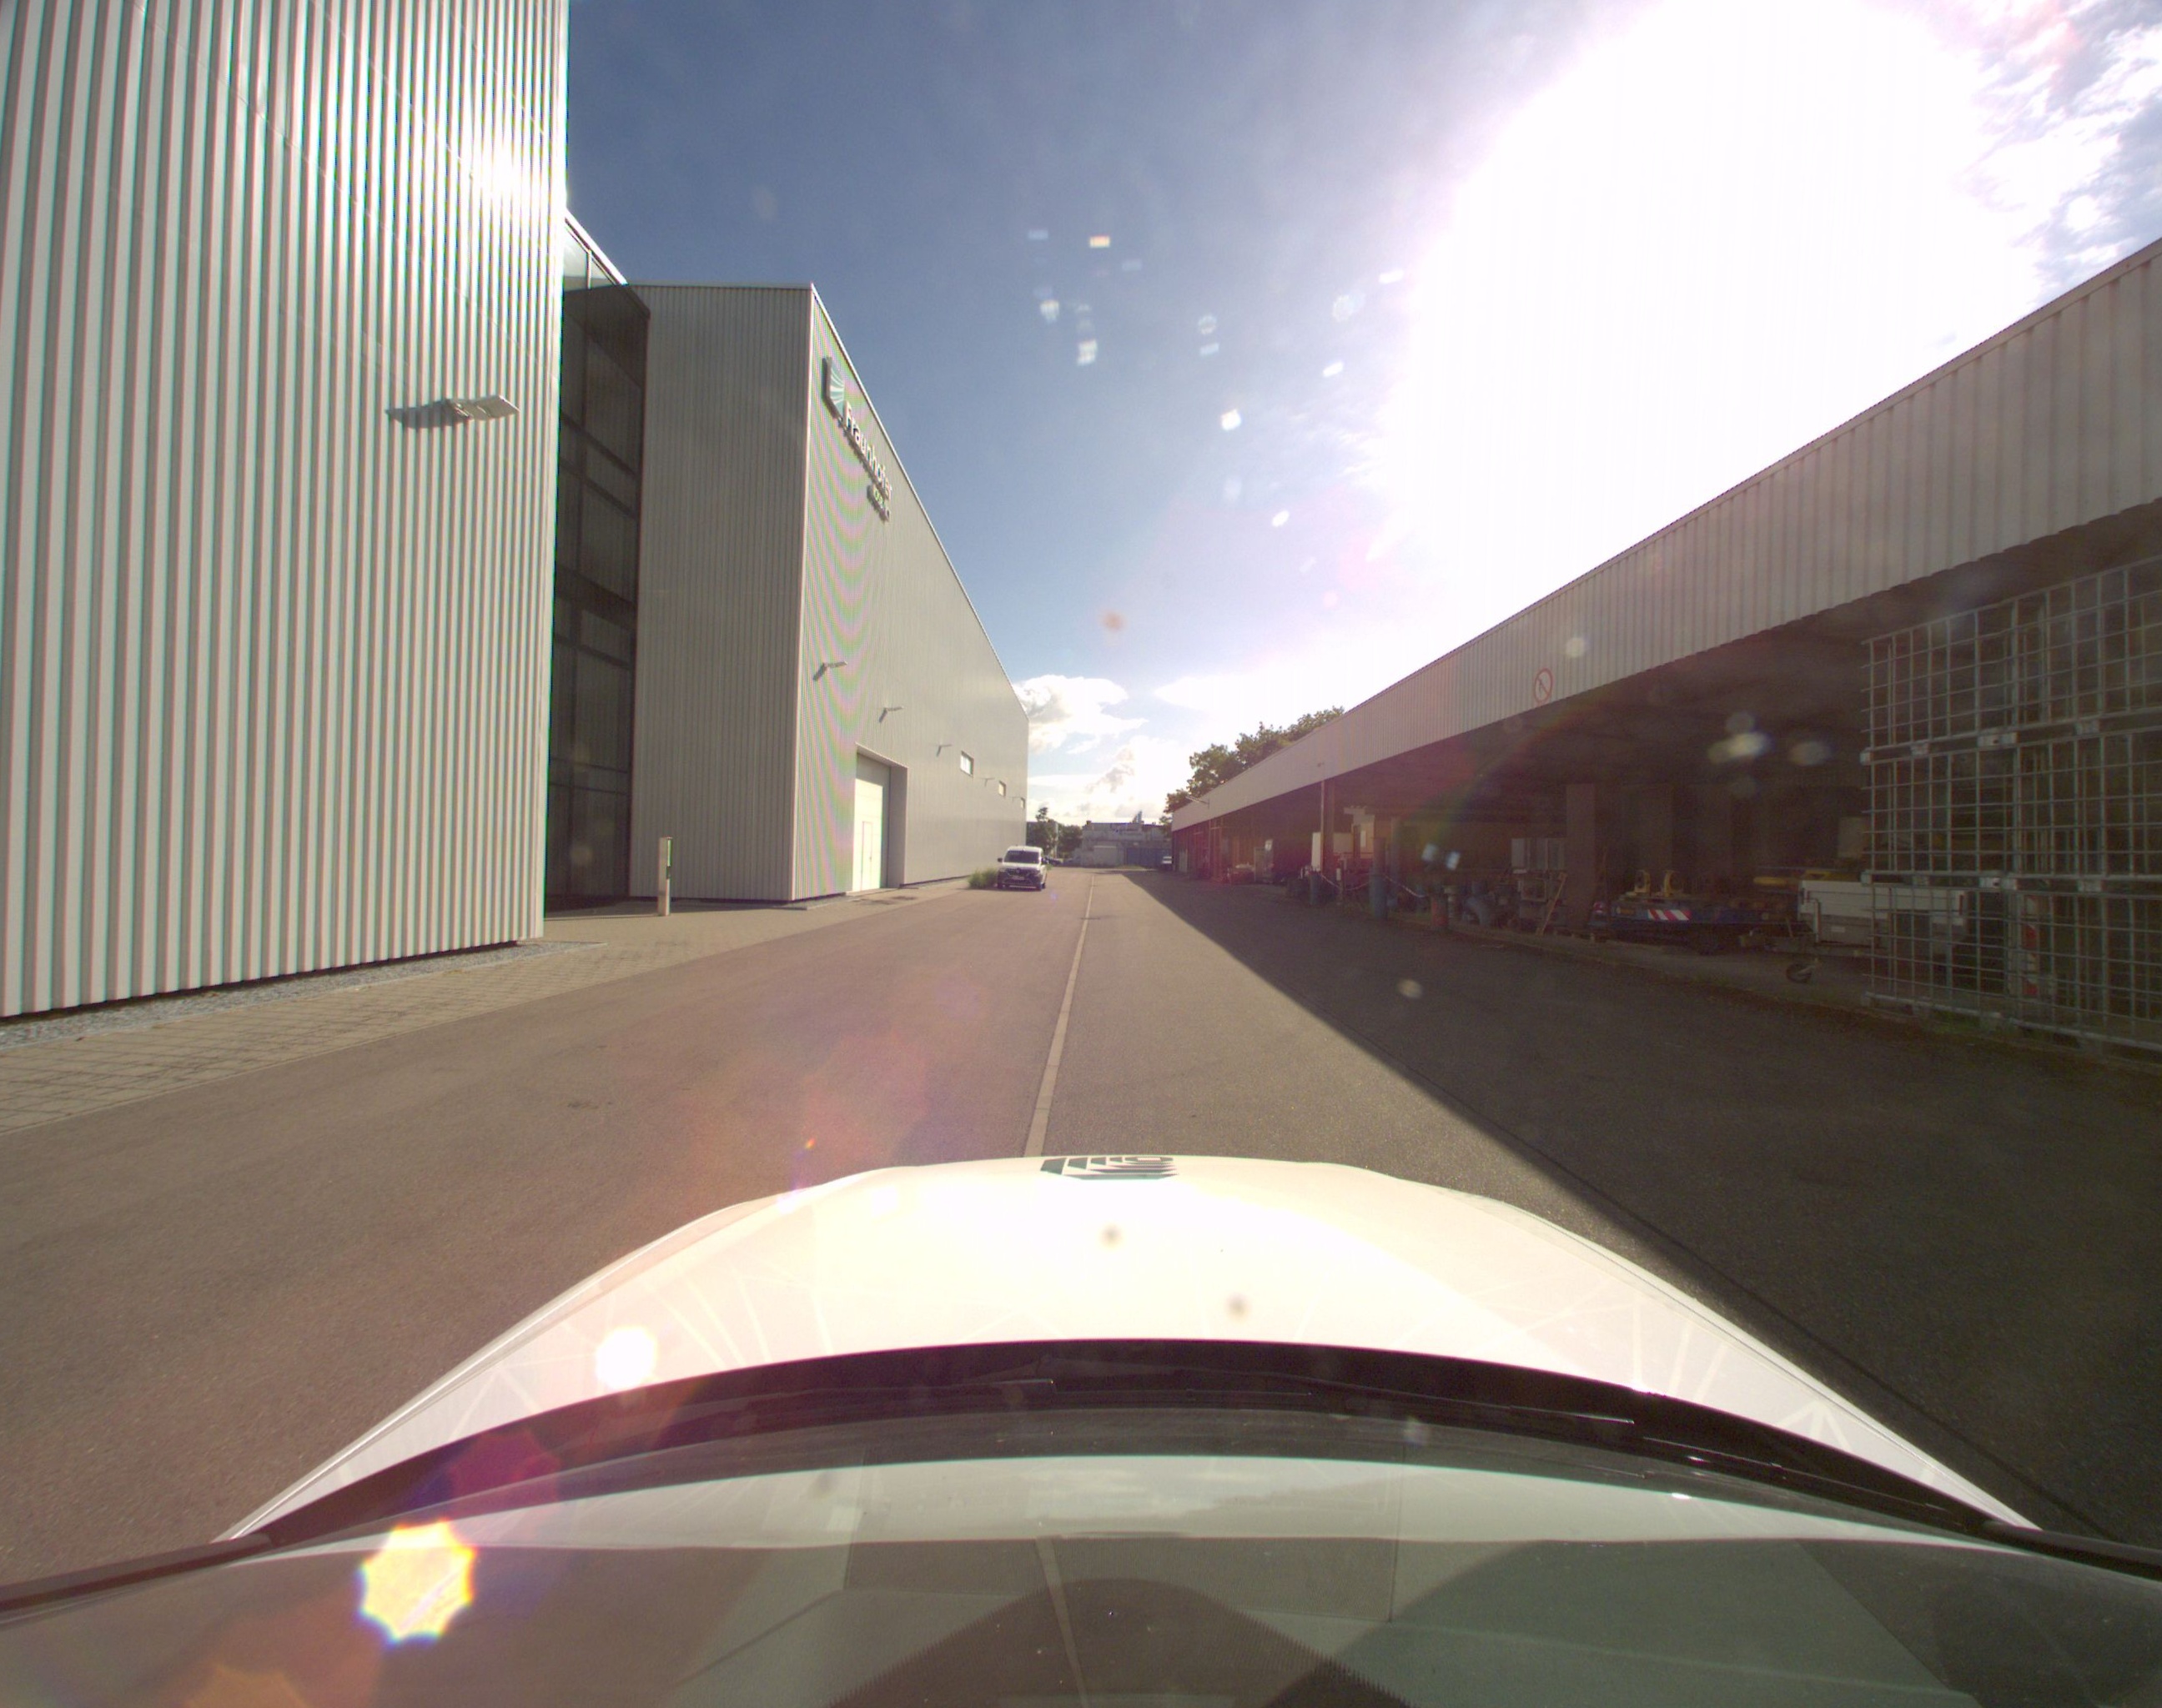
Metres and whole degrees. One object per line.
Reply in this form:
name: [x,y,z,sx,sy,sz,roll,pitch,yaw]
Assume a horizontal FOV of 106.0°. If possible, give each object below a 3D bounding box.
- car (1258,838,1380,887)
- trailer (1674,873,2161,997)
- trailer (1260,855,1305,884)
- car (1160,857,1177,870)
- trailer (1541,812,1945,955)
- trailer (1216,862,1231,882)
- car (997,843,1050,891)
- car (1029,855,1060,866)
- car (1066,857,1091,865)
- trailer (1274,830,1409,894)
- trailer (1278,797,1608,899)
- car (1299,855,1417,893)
car: [11.516,0.417,39.629,5.315,2.281,2.152,1,-1,0]
trailer: [10.225,0.835,9.167,5.710,1.185,1.974,0,-1,-1]
trailer: [10.445,0.816,42.247,2.028,1.466,1.740,0,0,5]
car: [11.167,1.175,103.928,1.971,1.602,4.380,0,1,2]
trailer: [9.883,0.426,12.512,4.405,1.990,2.164,0,-1,2]
trailer: [7.924,0.998,45.375,0.550,1.118,1.546,0,-1,-1]
car: [-2.367,0.547,34.530,1.777,1.816,4.602,3,-1,1]
car: [-5.208,0.920,116.515,4.433,1.531,1.824,0,-1,0]
car: [-0.456,1.247,144.375,4.288,1.457,1.824,0,-1,0]
trailer: [9.781,0.316,30.846,4.499,2.342,2.048,0,-1,2]
trailer: [12.297,-0.198,28.334,10.231,3.343,2.802,0,0,1]
car: [11.302,0.795,33.387,4.237,1.471,1.868,1,0,-2]
